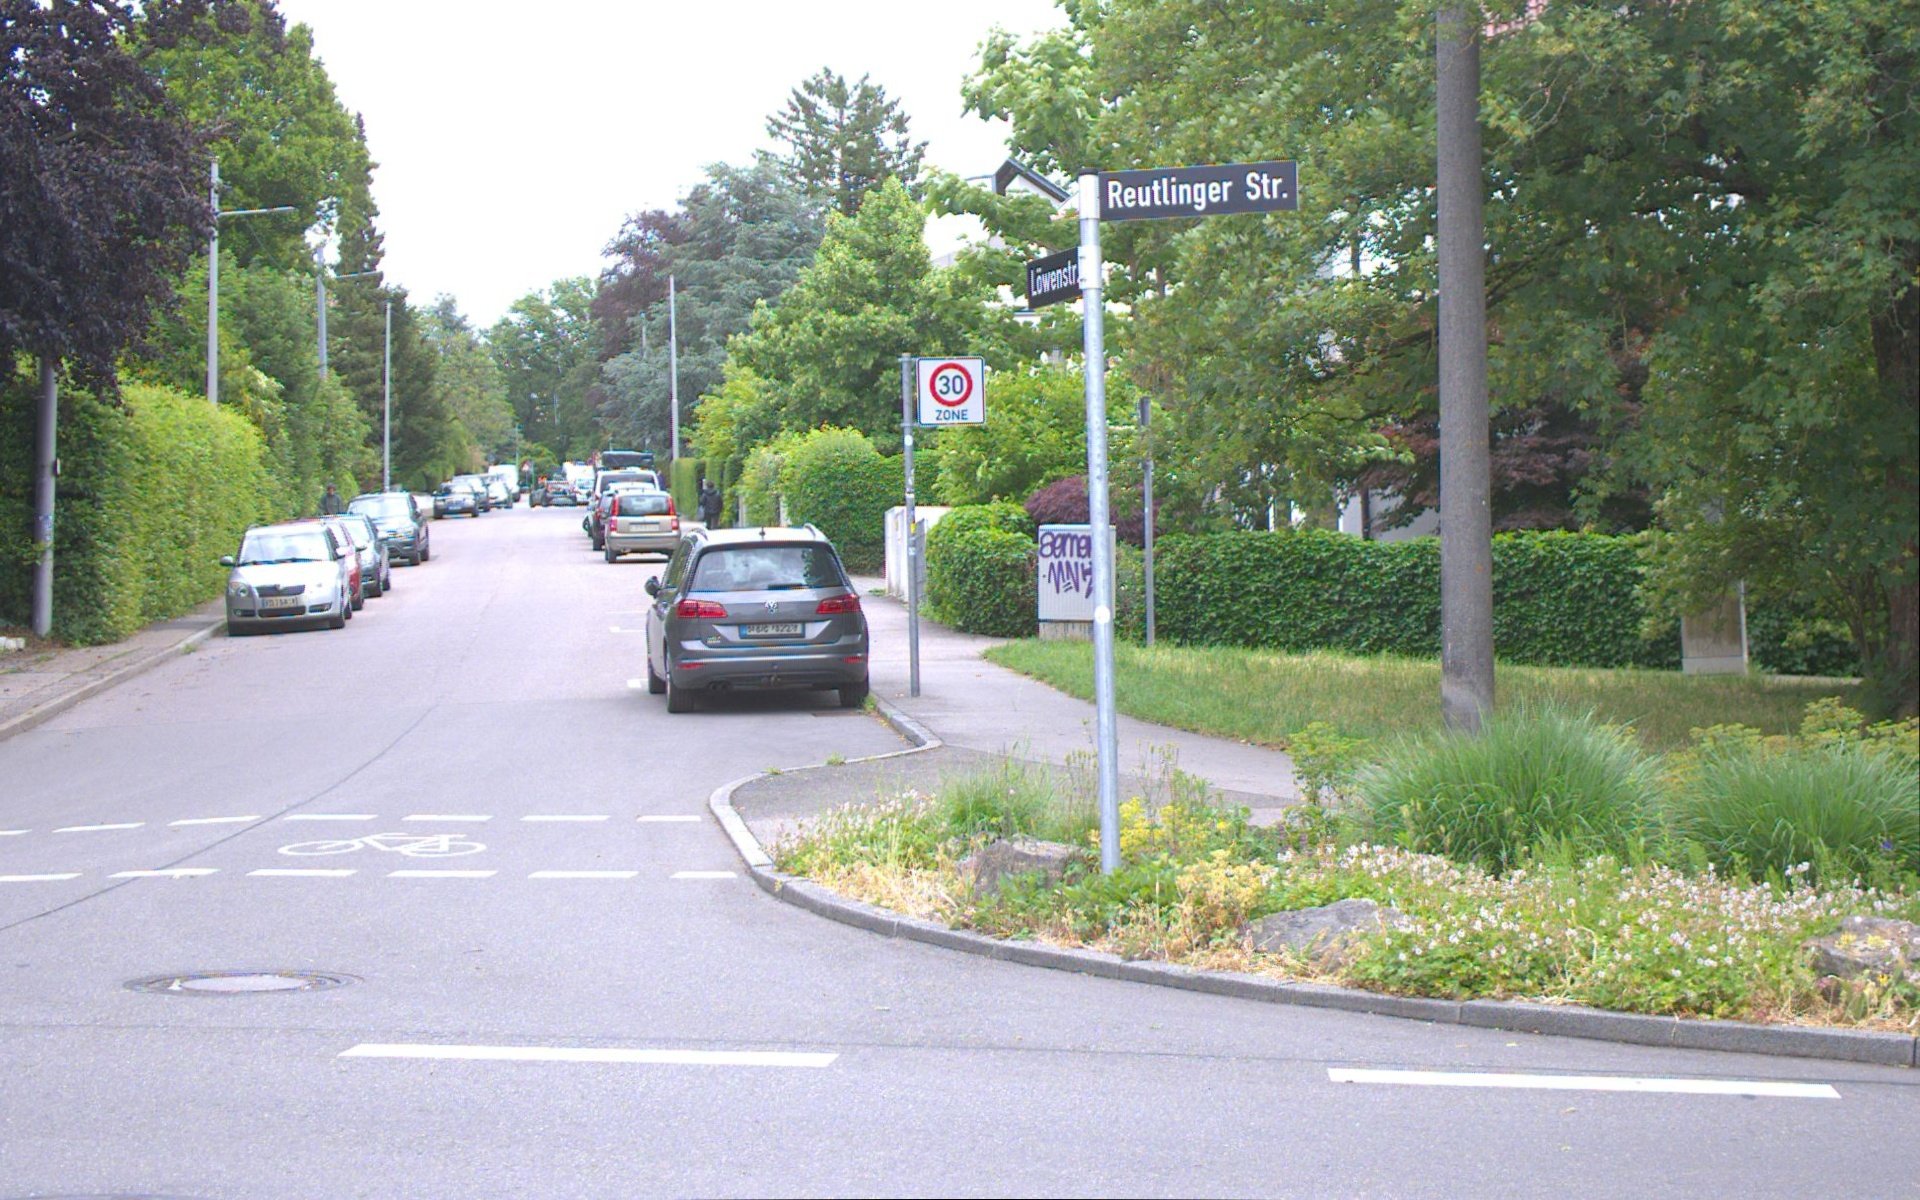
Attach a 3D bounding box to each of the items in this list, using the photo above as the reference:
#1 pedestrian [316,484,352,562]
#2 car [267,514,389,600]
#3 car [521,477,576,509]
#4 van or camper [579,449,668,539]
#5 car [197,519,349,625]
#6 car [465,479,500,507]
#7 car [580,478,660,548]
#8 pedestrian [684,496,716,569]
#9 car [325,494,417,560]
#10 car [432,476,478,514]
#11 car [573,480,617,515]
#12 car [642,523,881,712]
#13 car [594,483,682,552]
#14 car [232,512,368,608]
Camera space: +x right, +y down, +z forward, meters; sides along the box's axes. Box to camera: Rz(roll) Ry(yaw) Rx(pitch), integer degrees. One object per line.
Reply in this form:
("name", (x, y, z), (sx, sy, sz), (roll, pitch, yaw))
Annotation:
("pedestrian", (-16.280, -2.005, 89.443), (0.853, 2.007, 0.873), (1, 1, -12))
("car", (-11.053, -0.777, 60.349), (1.946, 1.437, 4.001), (-1, 1, -9))
("car", (-21.207, -5.478, 177.016), (1.815, 1.568, 4.001), (-1, 1, -21))
("van or camper", (-9.392, -2.909, 95.595), (2.112, 2.396, 5.247), (-1, 1, -9))
("car", (-9.894, -0.436, 49.747), (1.946, 1.437, 4.001), (-1, 1, -9))
("car", (-23.659, -5.279, 170.201), (1.655, 1.330, 3.782), (1, 1, -8))
("car", (-8.291, -2.116, 83.664), (1.746, 1.634, 3.729), (-1, 1, -8))
("pedestrian", (-6.663, -1.730, 87.997), (0.757, 1.865, 0.620), (1, 1, -7))
("car", (-13.289, -1.656, 77.750), (1.946, 1.437, 4.001), (-1, 1, -9))
("car", (-20.215, -4.201, 137.712), (1.714, 1.458, 3.657), (1, 1, -7))
("car", (-19.244, -5.390, 181.124), (1.939, 1.790, 4.196), (1, 1, -11))
("car", (-1.836, 0.097, 30.694), (1.817, 1.531, 4.001), (-2, 1, -7))
("car", (-6.930, -1.766, 73.827), (1.608, 1.409, 3.474), (1, 1, -9))
("car", (-10.487, -0.667, 54.861), (1.946, 1.437, 4.001), (-1, 1, -9))
